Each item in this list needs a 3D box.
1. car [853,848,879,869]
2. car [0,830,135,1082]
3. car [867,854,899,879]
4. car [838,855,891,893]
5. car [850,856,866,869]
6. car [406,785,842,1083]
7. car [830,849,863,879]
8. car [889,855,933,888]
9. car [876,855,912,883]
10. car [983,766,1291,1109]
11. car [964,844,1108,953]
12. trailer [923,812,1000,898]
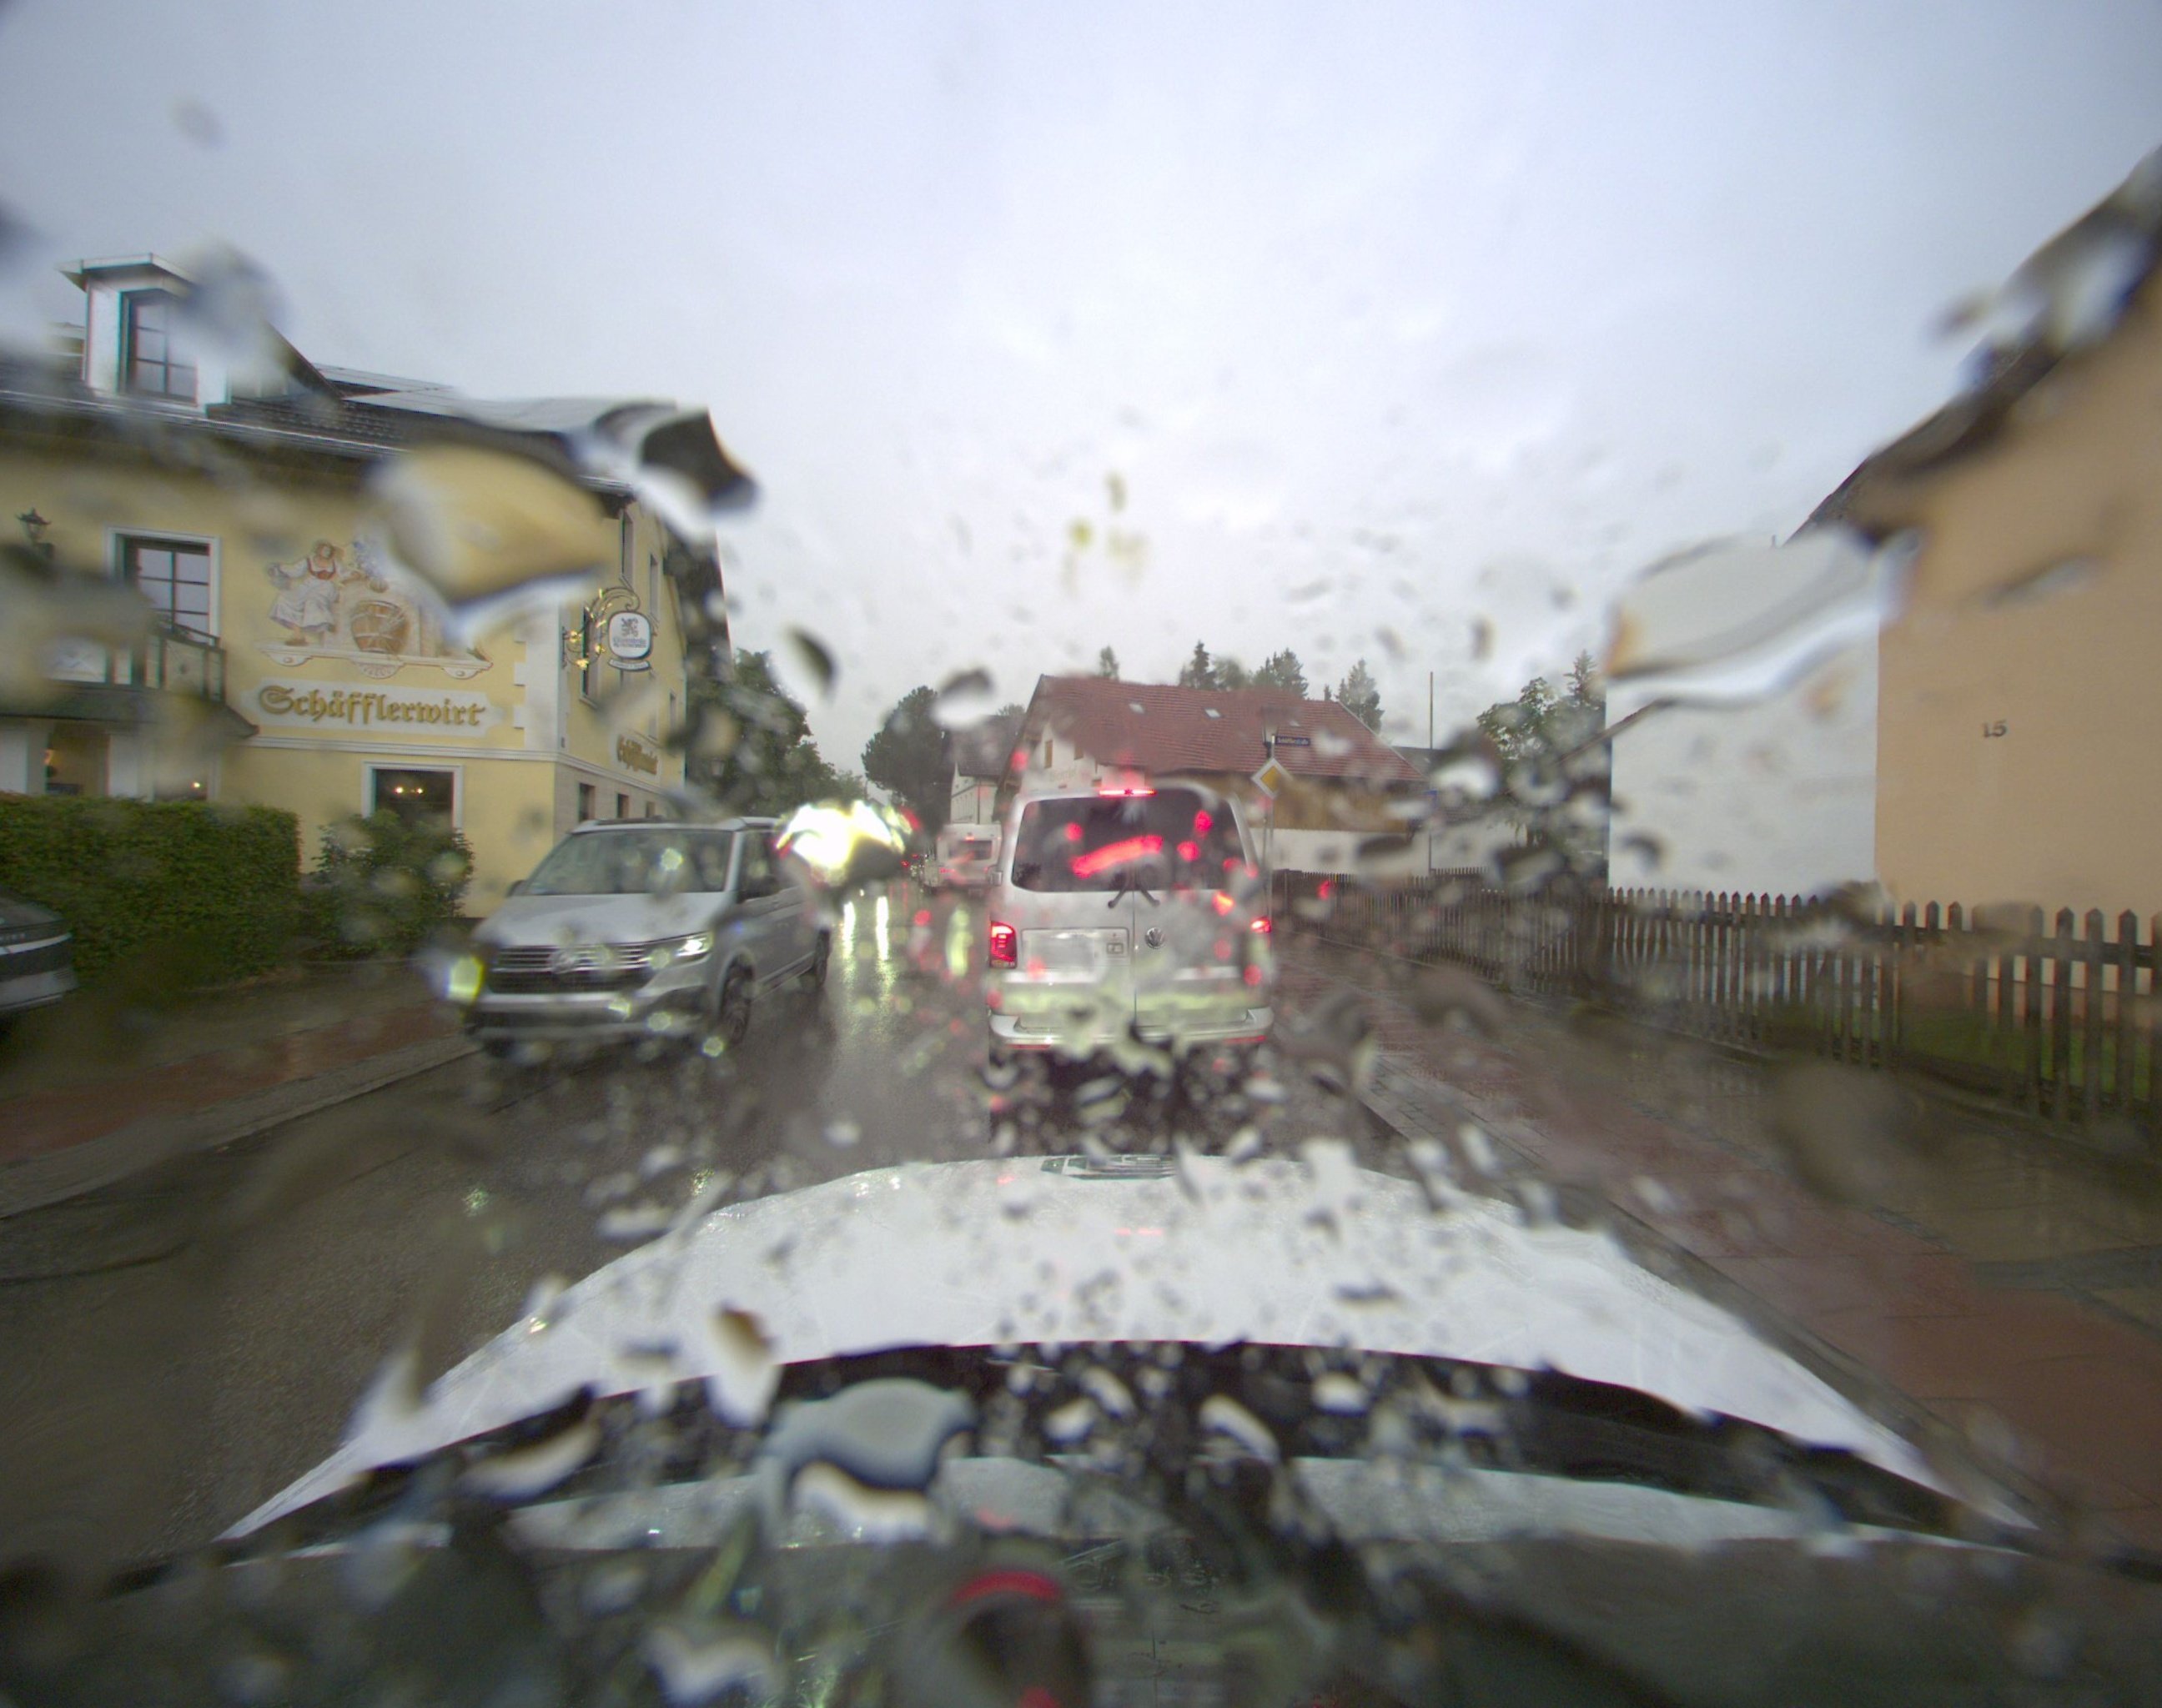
[{"bbox_3d":[-20.708,0.427,78.333,2.175,1.899,4.985,1,0,-18],"label":"car"},{"bbox_3d":[-9.070,0.559,4.577,4.490,1.567,1.827,4,1,-20],"label":"car"},{"bbox_3d":[-16.348,1.007,67.103,2.175,1.899,4.985,1,0,-18],"label":"car"},{"bbox_3d":[-8.997,0.783,33.640,1.867,1.359,4.456,-1,1,-18],"label":"car"},{"bbox_3d":[-35.072,1.351,127.933,2.175,1.899,4.985,1,0,-18],"label":"car"},{"bbox_3d":[-3.782,0.553,7.894,1.847,1.971,4.694,-1,-1,-5],"label":"car"},{"bbox_3d":[-15.143,0.596,52.618,1.866,1.758,4.458,-3,1,-16],"label":"car"},{"bbox_3d":[-10.698,1.040,50.873,2.175,1.899,4.985,1,0,-18],"label":"car"},{"bbox_3d":[-13.634,1.063,59.153,2.175,1.899,4.985,1,0,-18],"label":"car"},{"bbox_3d":[0.270,0.491,7.280,1.772,1.963,5.071,-1,0,-1],"label":"car"},{"bbox_3d":[-0.997,0.666,14.848,1.711,1.584,4.662,-2,1,-14],"label":"car"},{"bbox_3d":[-4.620,0.038,30.604,2.274,2.904,6.102,0,0,-14],"label":"trailer"}]
